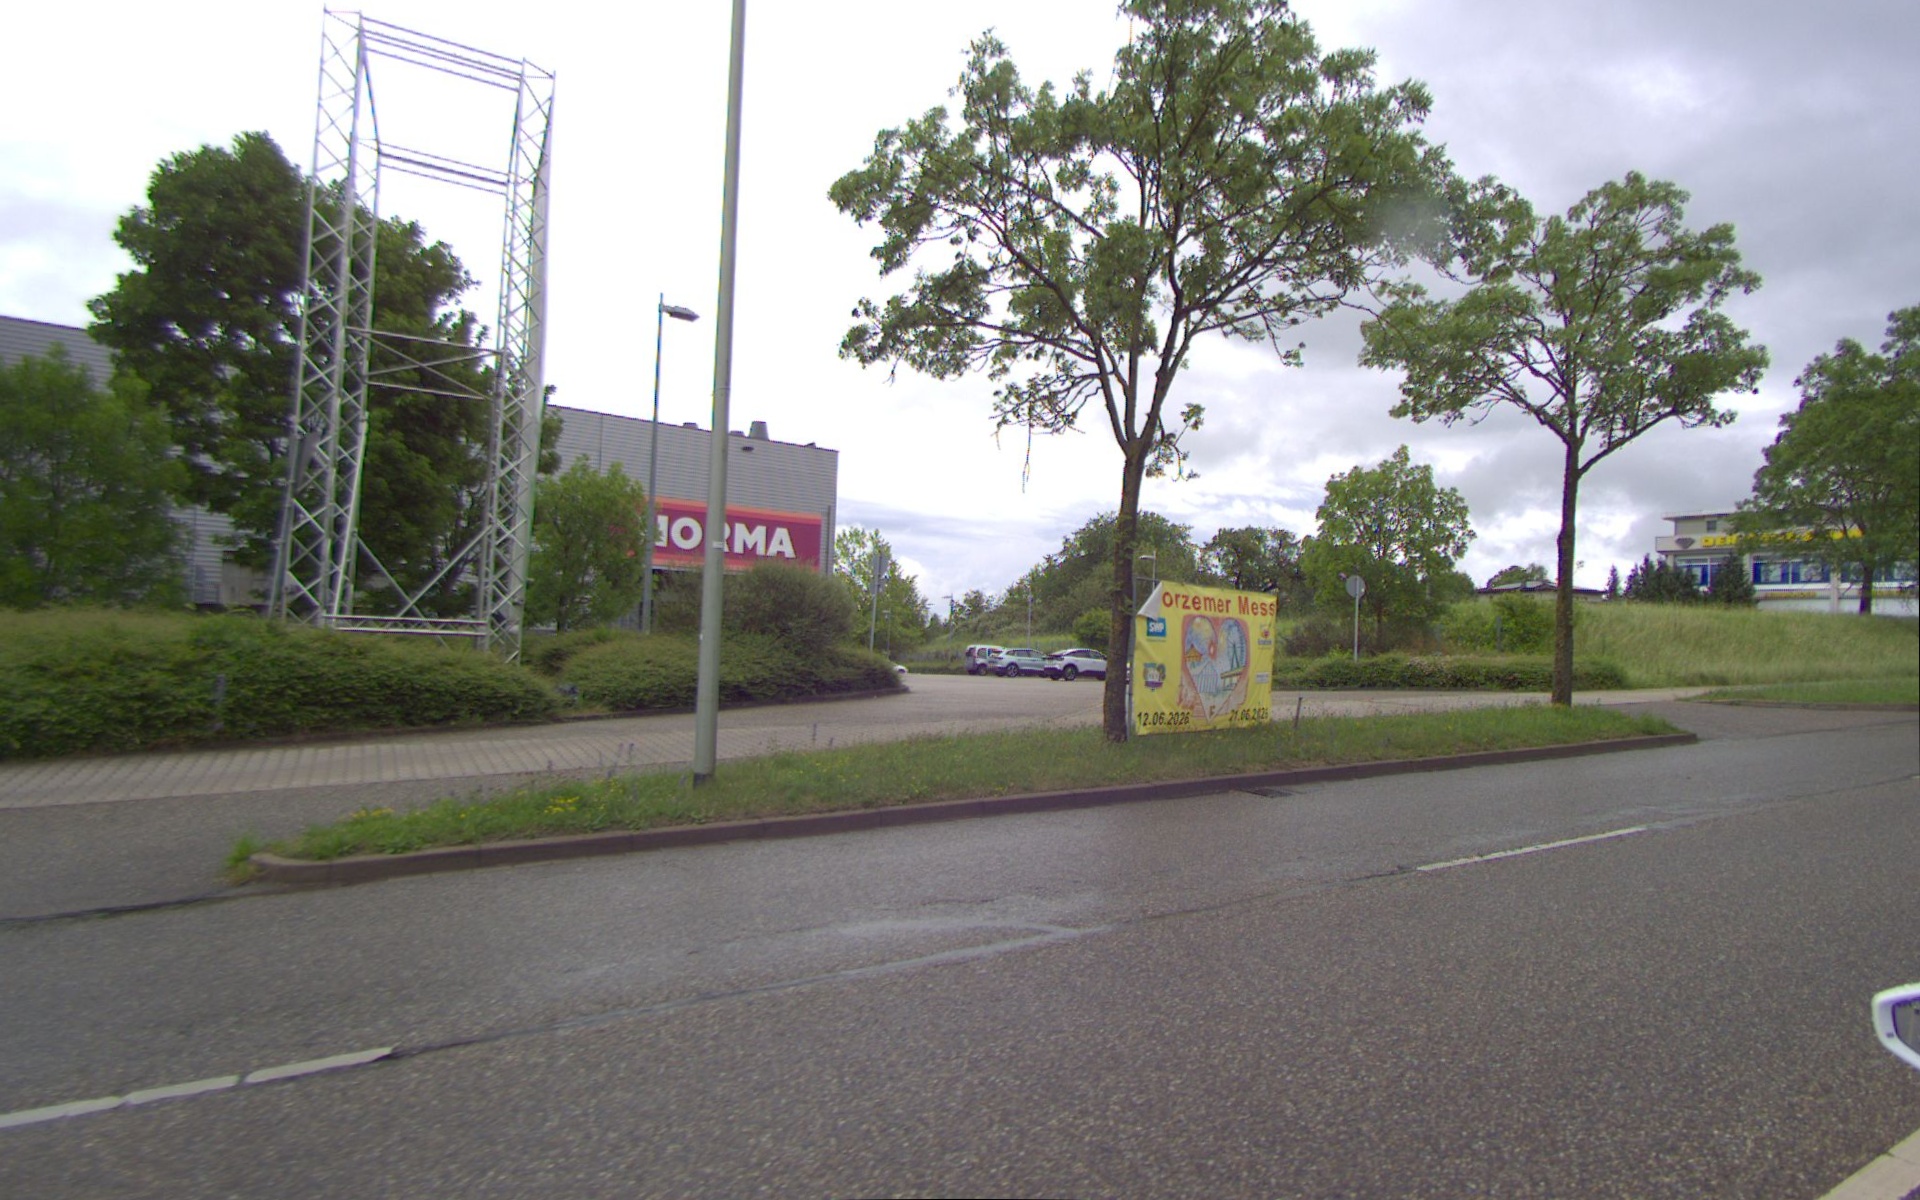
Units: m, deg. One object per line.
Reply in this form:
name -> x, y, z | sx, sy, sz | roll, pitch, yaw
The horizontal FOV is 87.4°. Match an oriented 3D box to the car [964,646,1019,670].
car -> 1.919, 3.558, 61.414 | 3.095, 1.387, 1.449 | 1, -1, -20

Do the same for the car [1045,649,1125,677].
car -> 6.156, 3.093, 49.452 | 3.663, 1.281, 1.449 | 1, -1, -20

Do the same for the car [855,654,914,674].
car -> -6.393, 5.445, 85.402 | 4.666, 1.635, 1.878 | 1, -1, -22

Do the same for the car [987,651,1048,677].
car -> 3.222, 3.601, 56.409 | 3.095, 1.387, 1.449 | 1, -1, -20
